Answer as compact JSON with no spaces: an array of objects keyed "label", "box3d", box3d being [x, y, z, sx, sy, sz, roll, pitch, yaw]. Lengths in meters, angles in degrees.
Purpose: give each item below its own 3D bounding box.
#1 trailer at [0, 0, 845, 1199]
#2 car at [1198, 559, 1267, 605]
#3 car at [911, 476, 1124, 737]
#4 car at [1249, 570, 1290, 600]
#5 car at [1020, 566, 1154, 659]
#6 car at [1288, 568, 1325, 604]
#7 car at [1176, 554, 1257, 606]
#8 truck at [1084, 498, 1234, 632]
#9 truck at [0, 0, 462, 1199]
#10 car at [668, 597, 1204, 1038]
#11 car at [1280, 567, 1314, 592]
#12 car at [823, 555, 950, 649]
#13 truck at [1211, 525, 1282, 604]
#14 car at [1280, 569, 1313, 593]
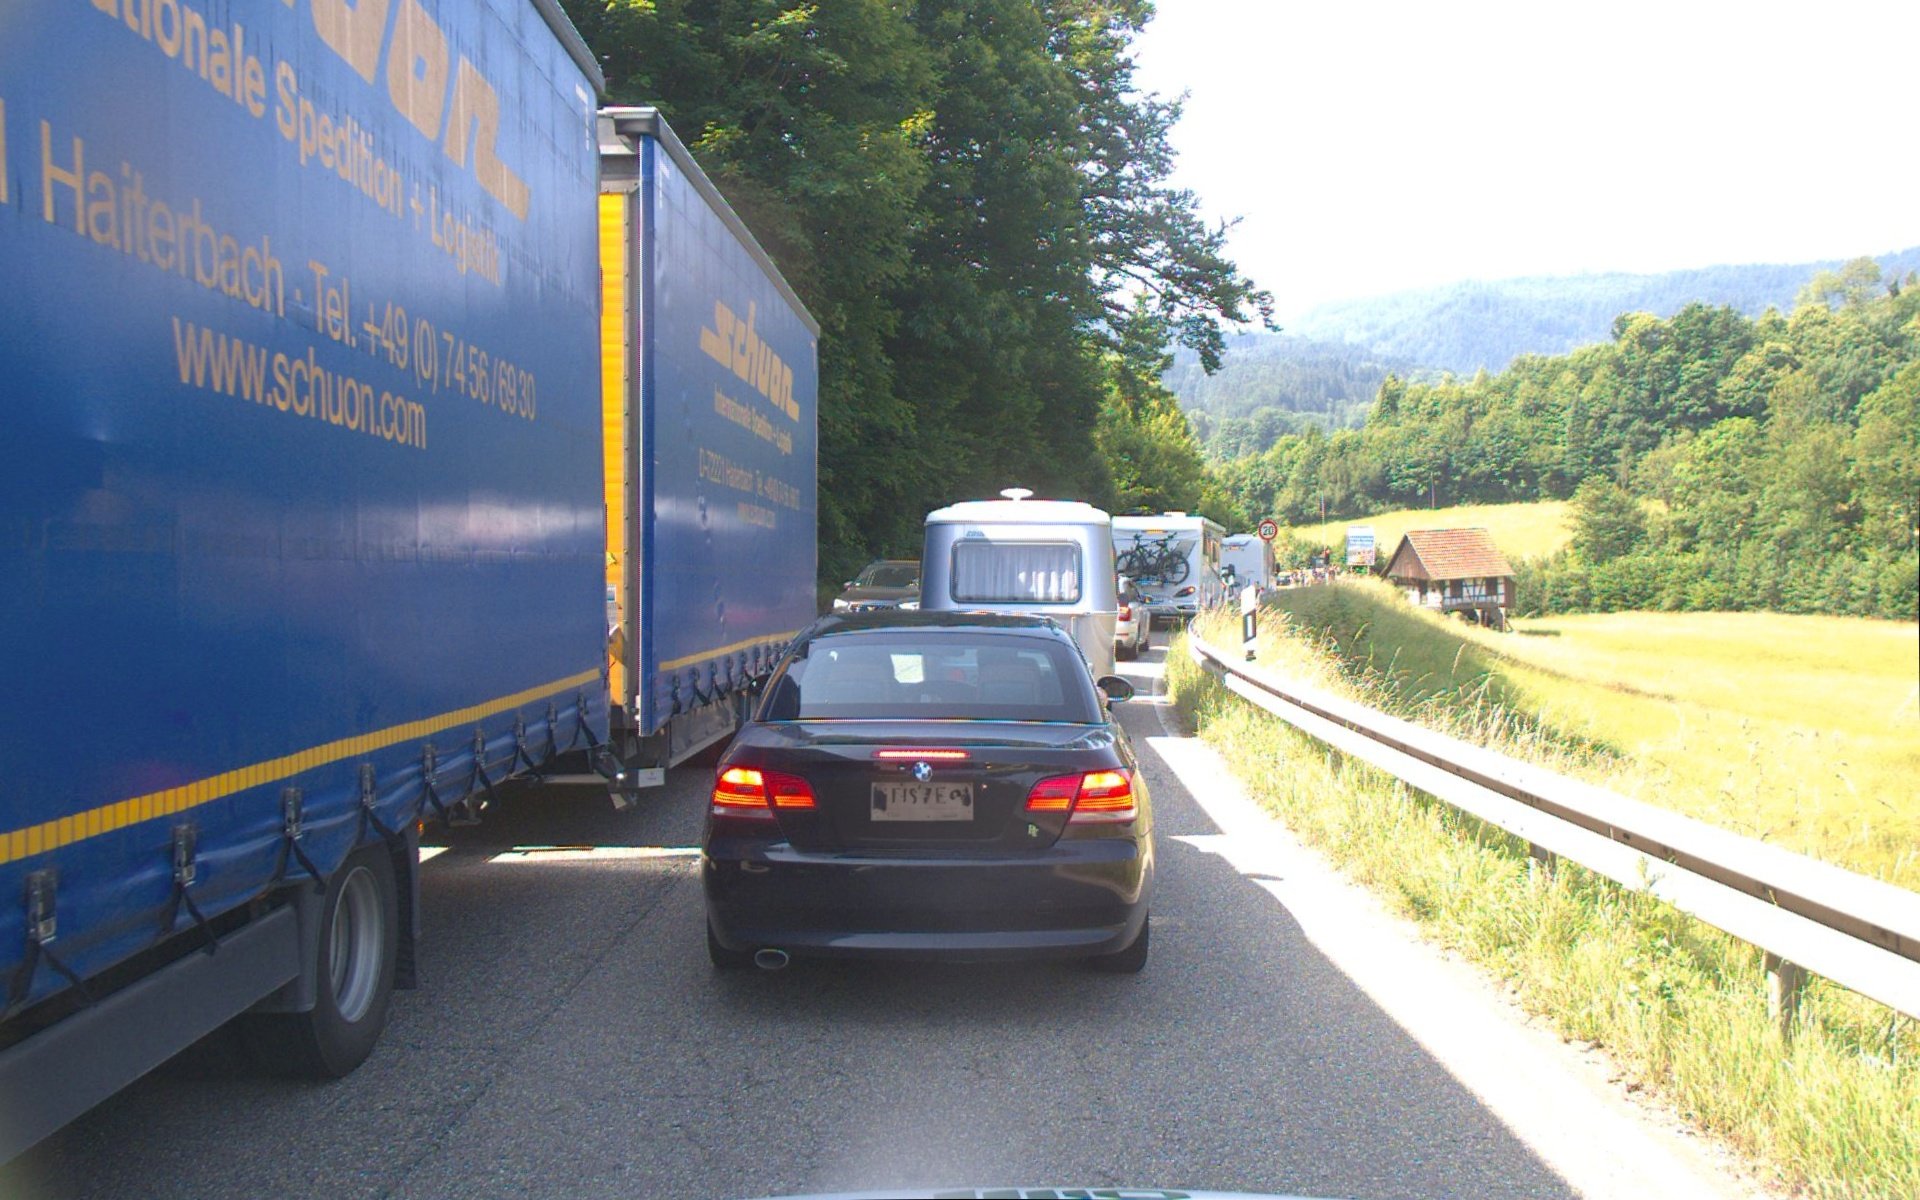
[{"label":"trailer","box3d":[-2.930,-0.884,9.345,3.192,4.494,15.319,1,2,1]},{"label":"car","box3d":[9.523,-0.655,57.589,1.750,1.489,4.002,3,2,18]},{"label":"car","box3d":[0.712,0.002,17.767,1.951,2.394,4.917,1,1,4]},{"label":"car","box3d":[16.177,-0.780,86.387,1.866,1.512,4.003,1,0,13]},{"label":"car","box3d":[2.392,0.176,30.122,1.951,1.510,4.004,2,1,11]},{"label":"car","box3d":[20.094,-0.794,95.764,1.951,1.959,4.003,4,0,12]},{"label":"car","box3d":[8.109,-0.645,52.011,1.952,1.489,4.003,3,2,16]},{"label":"truck","box3d":[5.230,-0.918,42.355,2.732,3.049,6.873,3,2,15]},{"label":"truck","box3d":[-3.011,-0.717,1.475,3.123,4.473,6.572,1,2,0]},{"label":"car","box3d":[-0.026,0.702,7.262,1.734,1.359,3.768,1,1,2]},{"label":"car","box3d":[23.137,-1.374,113.423,1.951,1.603,4.002,1,0,17]},{"label":"car","box3d":[-1.315,-0.010,31.155,1.783,1.612,4.086,1,1,6]},{"label":"truck","box3d":[11.135,-1.299,63.936,2.190,2.853,6.237,1,0,14]},{"label":"car","box3d":[25.026,-1.403,122.807,1.952,1.713,4.002,1,0,18]}]
